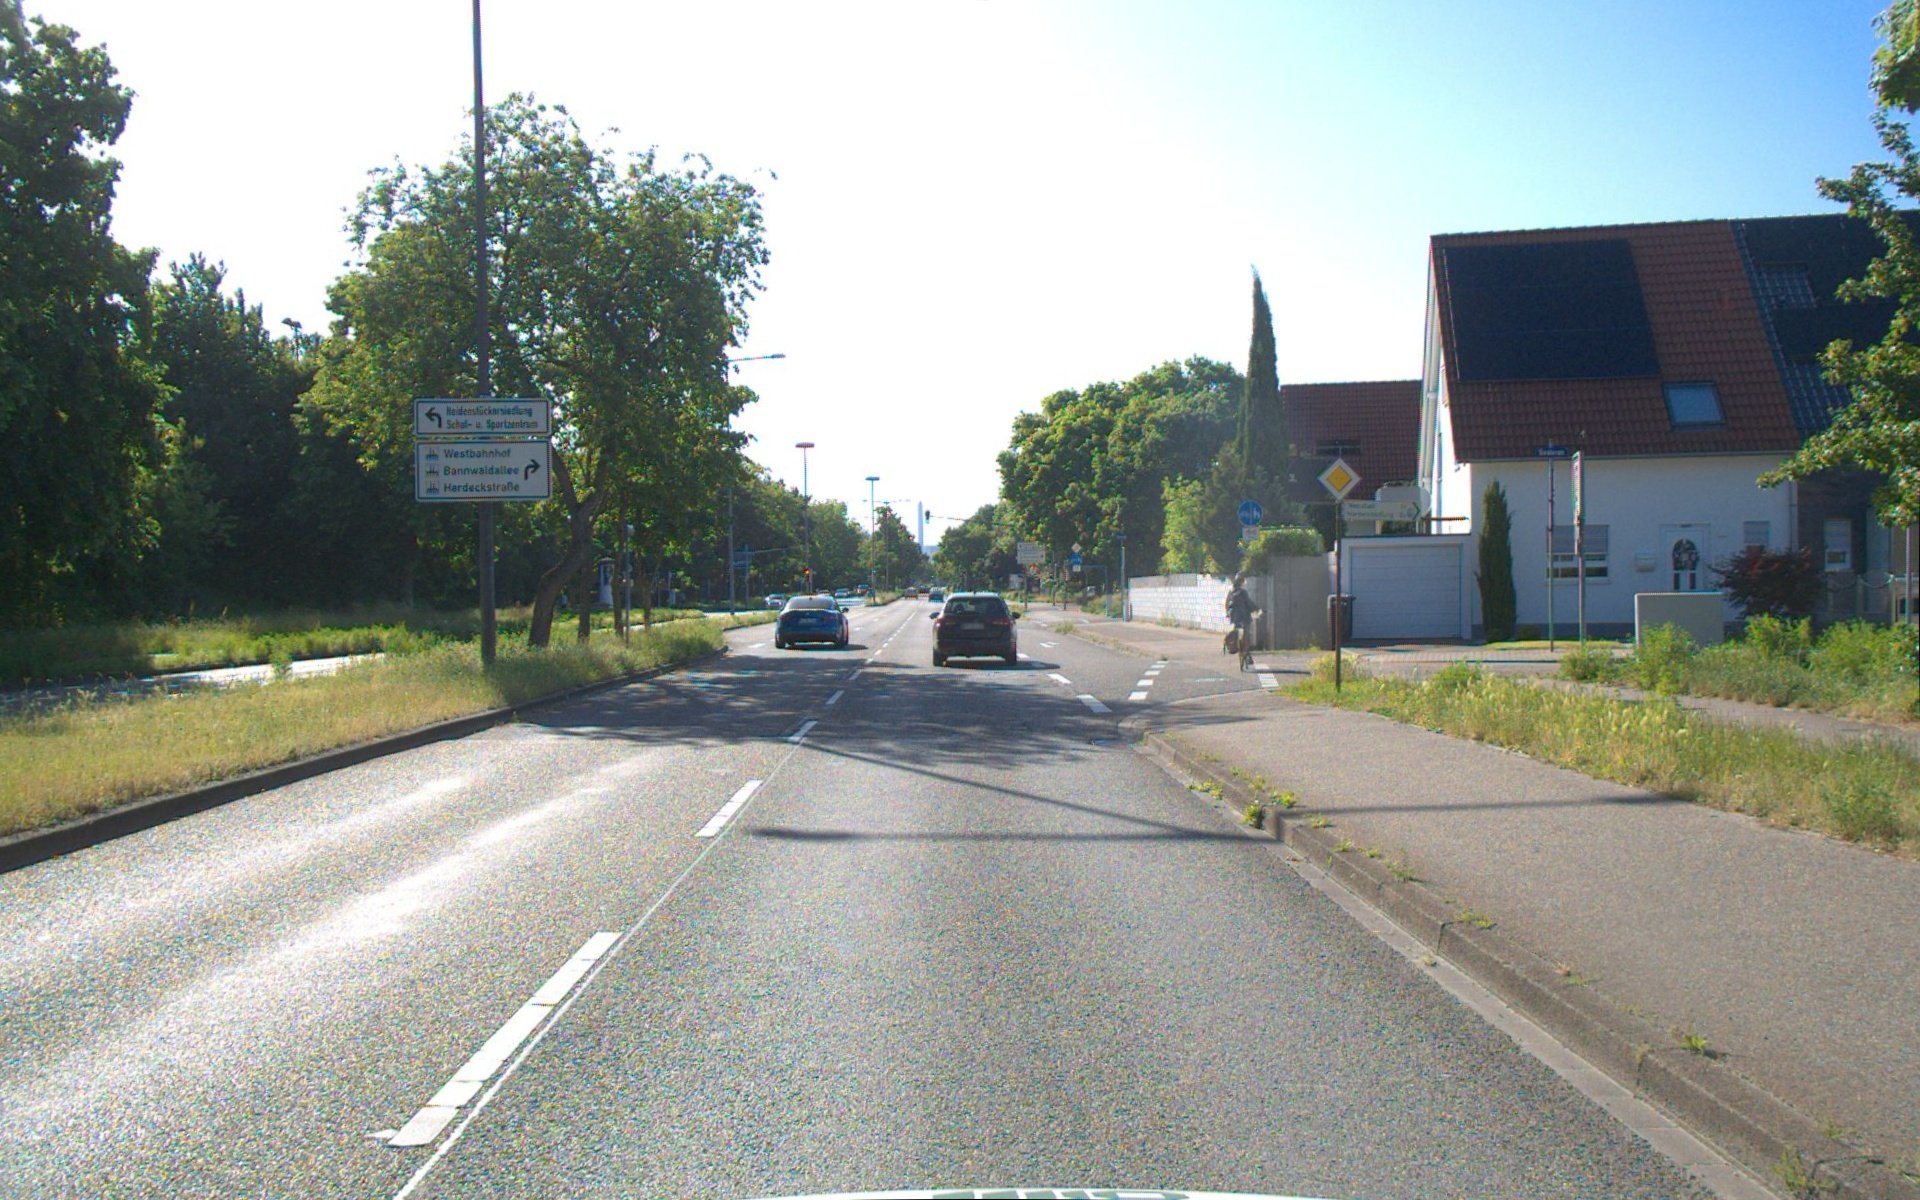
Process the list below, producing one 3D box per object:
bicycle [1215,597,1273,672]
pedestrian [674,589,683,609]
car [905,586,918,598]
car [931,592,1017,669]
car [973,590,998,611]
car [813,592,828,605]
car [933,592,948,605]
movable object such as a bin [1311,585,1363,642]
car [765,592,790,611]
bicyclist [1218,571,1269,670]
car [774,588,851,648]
[{"bbox_3d":[5.019,0.589,29.094,0.562,1.175,2.141,-4,1,20],"label":"bicycle"},{"bbox_3d":[-26.970,-0.088,158.452,0.828,1.868,0.549,0,-2,1],"label":"pedestrian"},{"bbox_3d":[-6.685,-1.131,227.070,1.787,1.643,3.839,0,0,-2],"label":"car"},{"bbox_3d":[0.244,0.608,34.943,1.720,1.535,3.808,0,0,-1],"label":"car"},{"bbox_3d":[1.879,0.003,120.813,1.696,1.485,3.841,0,0,2],"label":"car"},{"bbox_3d":[-19.061,-0.201,226.153,1.826,1.713,4.260,0,0,-1],"label":"car"},{"bbox_3d":[-2.360,-0.173,199.048,1.697,1.613,3.839,1,0,-1],"label":"car"},{"bbox_3d":[8.598,0.310,37.755,0.980,1.226,1.063,-2,-1,6],"label":"movable object such as a bin"},{"bbox_3d":[-17.355,0.201,157.643,1.873,1.733,4.407,1,-1,0],"label":"car"},{"bbox_3d":[4.980,0.353,29.034,0.617,1.661,0.982,-4,1,20],"label":"bicyclist"},{"bbox_3d":[-4.089,0.482,46.385,1.850,1.579,3.999,-1,0,-1],"label":"car"}]
